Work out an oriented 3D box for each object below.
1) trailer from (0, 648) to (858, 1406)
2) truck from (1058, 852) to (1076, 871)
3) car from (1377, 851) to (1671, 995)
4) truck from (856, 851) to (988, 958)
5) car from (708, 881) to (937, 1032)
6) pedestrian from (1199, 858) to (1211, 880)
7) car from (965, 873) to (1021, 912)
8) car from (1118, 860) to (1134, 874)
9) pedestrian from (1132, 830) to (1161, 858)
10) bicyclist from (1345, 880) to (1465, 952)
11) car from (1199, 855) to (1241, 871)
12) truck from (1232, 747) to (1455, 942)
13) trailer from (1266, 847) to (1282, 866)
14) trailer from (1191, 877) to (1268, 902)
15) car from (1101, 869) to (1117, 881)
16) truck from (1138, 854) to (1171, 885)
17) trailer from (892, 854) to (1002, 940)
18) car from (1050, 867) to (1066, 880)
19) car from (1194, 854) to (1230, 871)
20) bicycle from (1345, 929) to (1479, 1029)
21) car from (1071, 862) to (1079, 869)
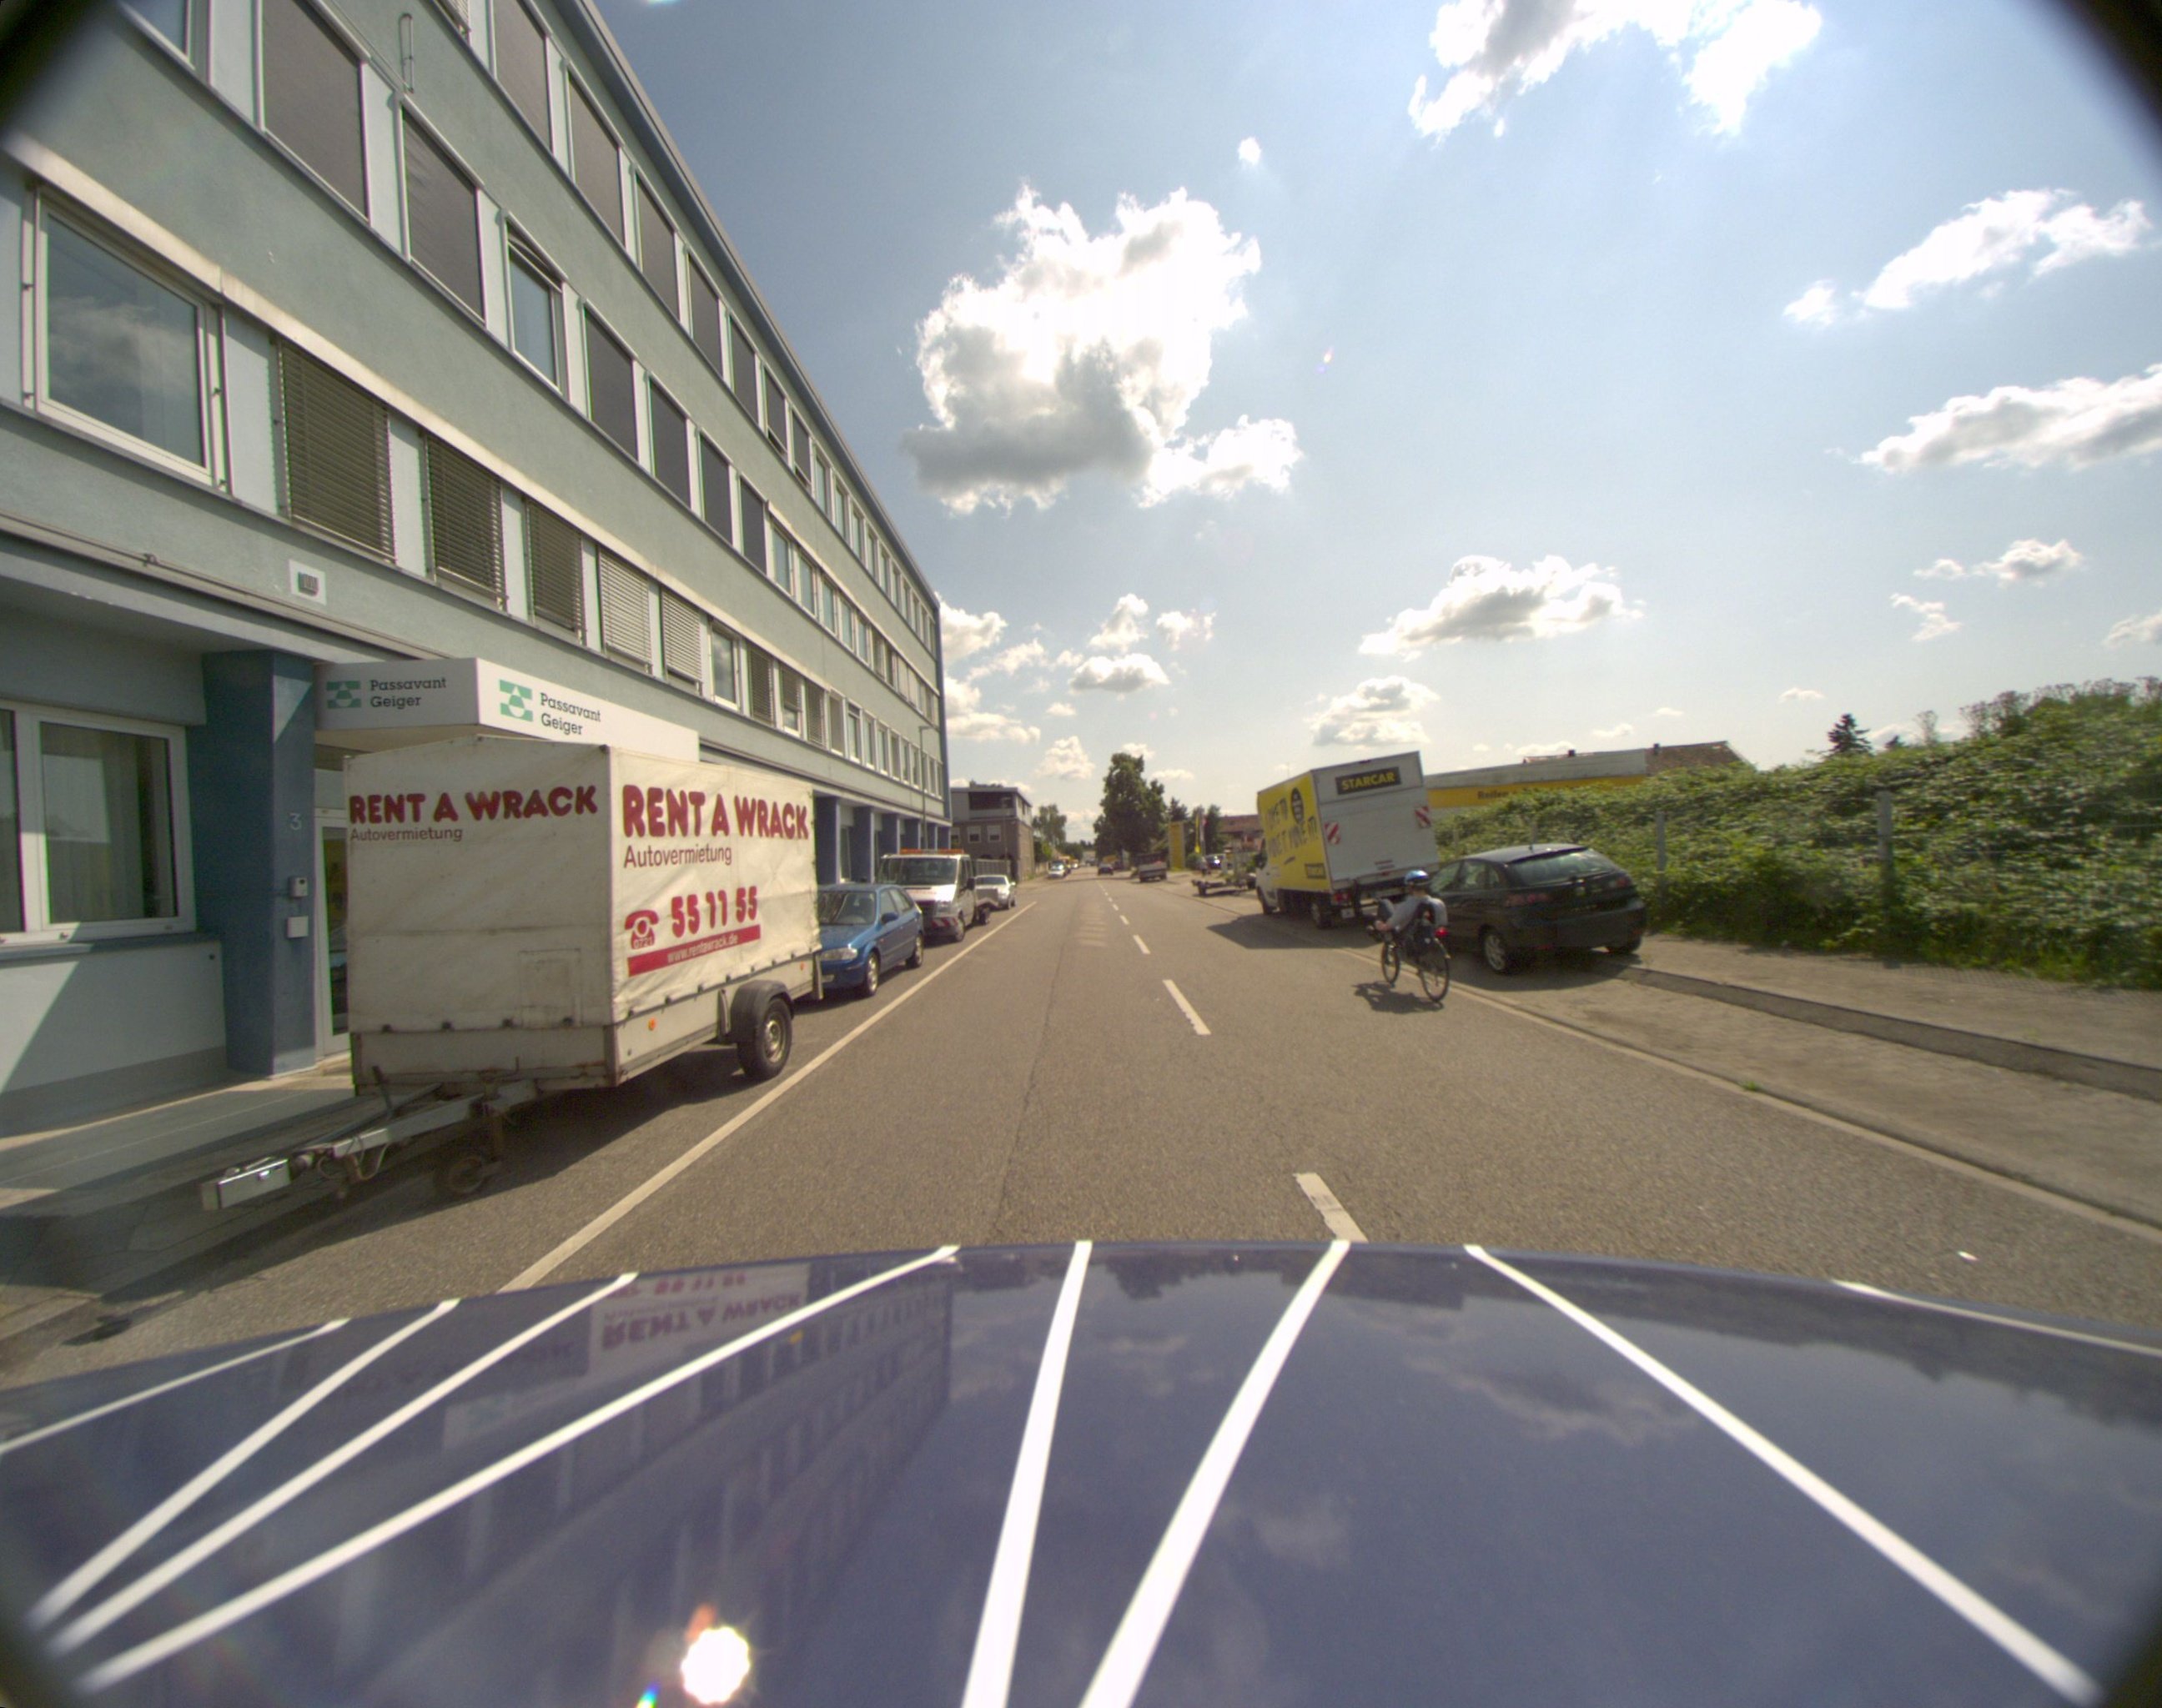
[{"bbox_3d":[-3.379,0.638,5.150,1.873,2.538,5.073,-3,0,3],"label":"trailer"},{"bbox_3d":[-2.224,1.161,122.028,2.402,2.787,6.376,-4,0,2],"label":"truck"},{"bbox_3d":[5.600,0.770,10.249,1.623,1.421,3.827,-6,0,0],"label":"car"},{"bbox_3d":[-3.479,1.025,17.649,1.969,2.023,4.734,-4,0,0],"label":"truck"},{"bbox_3d":[-3.409,1.265,11.007,1.722,1.533,4.403,-2,0,1],"label":"car"},{"bbox_3d":[9.192,1.121,56.332,0.661,1.536,0.918,-3,0,1],"label":"pedestrian"},{"bbox_3d":[-3.323,1.447,29.364,1.651,1.239,4.000,-3,-1,0],"label":"car"},{"bbox_3d":[7.578,2.158,128.039,1.997,2.289,4.003,-4,0,10],"label":"car"},{"bbox_3d":[5.265,-0.772,61.472,1.998,2.002,4.000,-5,0,2],"label":"pedestrian"},{"bbox_3d":[3.503,0.640,8.389,0.567,0.628,1.858,-5,-1,3],"label":"bicyclist"},{"bbox_3d":[14.579,0.932,79.793,3.847,1.405,1.857,-5,0,-22],"label":"car"},{"bbox_3d":[5.563,-0.125,17.559,2.256,3.342,6.907,-8,-1,-1],"label":"truck"},{"bbox_3d":[18.373,0.232,72.225,1.268,1.682,2.972,-5,0,17],"label":"trailer"},{"bbox_3d":[6.165,1.449,32.068,2.241,0.549,4.444,-9,0,-1],"label":"trailer"},{"bbox_3d":[3.484,2.597,93.852,1.789,1.430,4.309,0,0,-1],"label":"car"},{"bbox_3d":[5.940,1.206,62.292,2.133,2.225,7.351,-6,-1,3],"label":"truck"},{"bbox_3d":[-3.545,1.072,21.265,1.978,1.959,5.766,-3,0,0],"label":"trailer"},{"bbox_3d":[-2.661,2.214,88.332,1.657,1.324,4.000,-4,0,0],"label":"car"},{"bbox_3d":[15.889,1.037,92.316,4.093,1.703,1.680,-4,0,9],"label":"car"},{"bbox_3d":[3.569,1.316,8.403,0.589,0.737,2.125,-4,0,2],"label":"bicycle"},{"bbox_3d":[-1.682,3.189,211.490,1.998,2.002,4.001,-4,0,2],"label":"car"}]
